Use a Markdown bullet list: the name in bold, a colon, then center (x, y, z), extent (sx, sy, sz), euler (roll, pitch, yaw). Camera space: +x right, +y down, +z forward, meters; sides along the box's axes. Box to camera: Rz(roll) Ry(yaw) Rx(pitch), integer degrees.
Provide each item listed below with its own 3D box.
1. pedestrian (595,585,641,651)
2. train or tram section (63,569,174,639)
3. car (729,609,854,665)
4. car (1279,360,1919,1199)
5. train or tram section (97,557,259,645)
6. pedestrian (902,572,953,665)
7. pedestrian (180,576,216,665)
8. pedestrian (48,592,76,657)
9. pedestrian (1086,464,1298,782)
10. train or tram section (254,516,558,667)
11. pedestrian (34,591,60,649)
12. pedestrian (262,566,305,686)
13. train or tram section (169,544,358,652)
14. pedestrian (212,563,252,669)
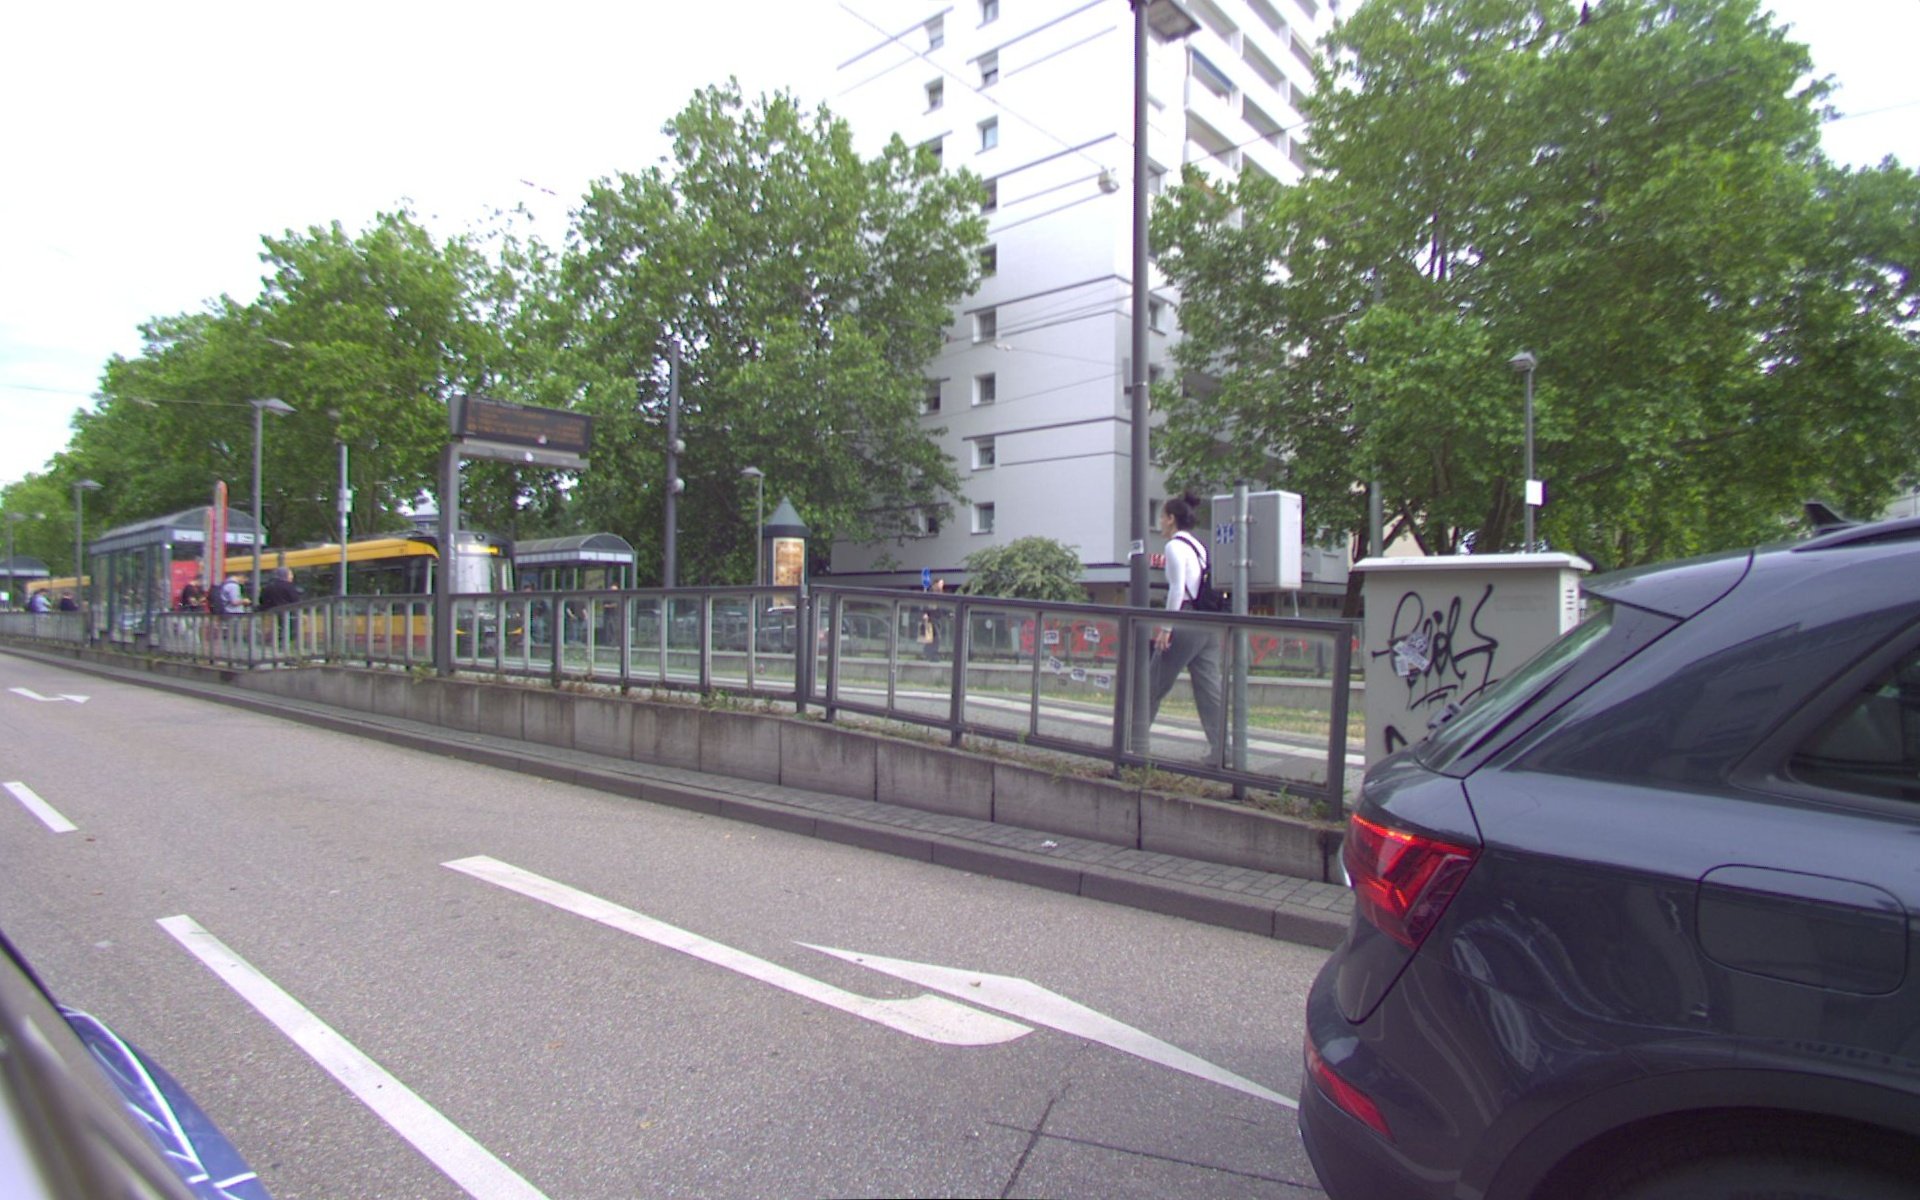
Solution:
- **pedestrian**: center (-9.318, 0.475, 27.561), extent (0.850, 1.769, 0.871), euler (-1, 0, 41)
- **train or tram section**: center (-49.343, 0.254, 59.196), extent (11.039, 3.781, 3.295), euler (-1, 0, 41)
- **car**: center (-4.604, 0.984, 27.522), extent (3.214, 1.439, 1.563), euler (-1, -1, 37)
- **car**: center (2.692, 0.521, 0.970), extent (4.225, 1.649, 1.715), euler (-1, 0, 41)
- **train or tram section**: center (-39.107, 0.122, 50.174), extent (16.241, 3.781, 3.295), euler (-1, 0, 41)
- **pedestrian**: center (-0.630, 0.353, 19.803), extent (0.666, 1.763, 0.728), euler (-1, 0, 41)
- **pedestrian**: center (-15.923, 0.420, 21.159), extent (0.467, 1.818, 0.607), euler (-1, 0, -24)
- **pedestrian**: center (-25.567, 0.695, 28.819), extent (0.523, 1.818, 0.607), euler (-1, 0, -35)
- **pedestrian**: center (1.355, 0.120, 5.952), extent (0.979, 1.683, 0.711), euler (-1, 0, 44)
- **train or tram section**: center (-17.819, -0.152, 31.503), extent (15.196, 3.781, 3.295), euler (-1, 0, 41)
- **pedestrian**: center (-29.036, 0.625, 32.181), extent (0.523, 1.818, 0.607), euler (-1, 0, -35)
- **pedestrian**: center (-10.527, 0.390, 15.739), extent (0.513, 1.818, 0.606), euler (-1, 0, -37)
- **train or tram section**: center (-28.264, -0.017, 40.670), extent (12.543, 3.781, 3.295), euler (-1, 0, 41)
- **pedestrian**: center (-12.749, 0.268, 17.714), extent (0.605, 1.818, 0.469), euler (-1, 0, 45)
